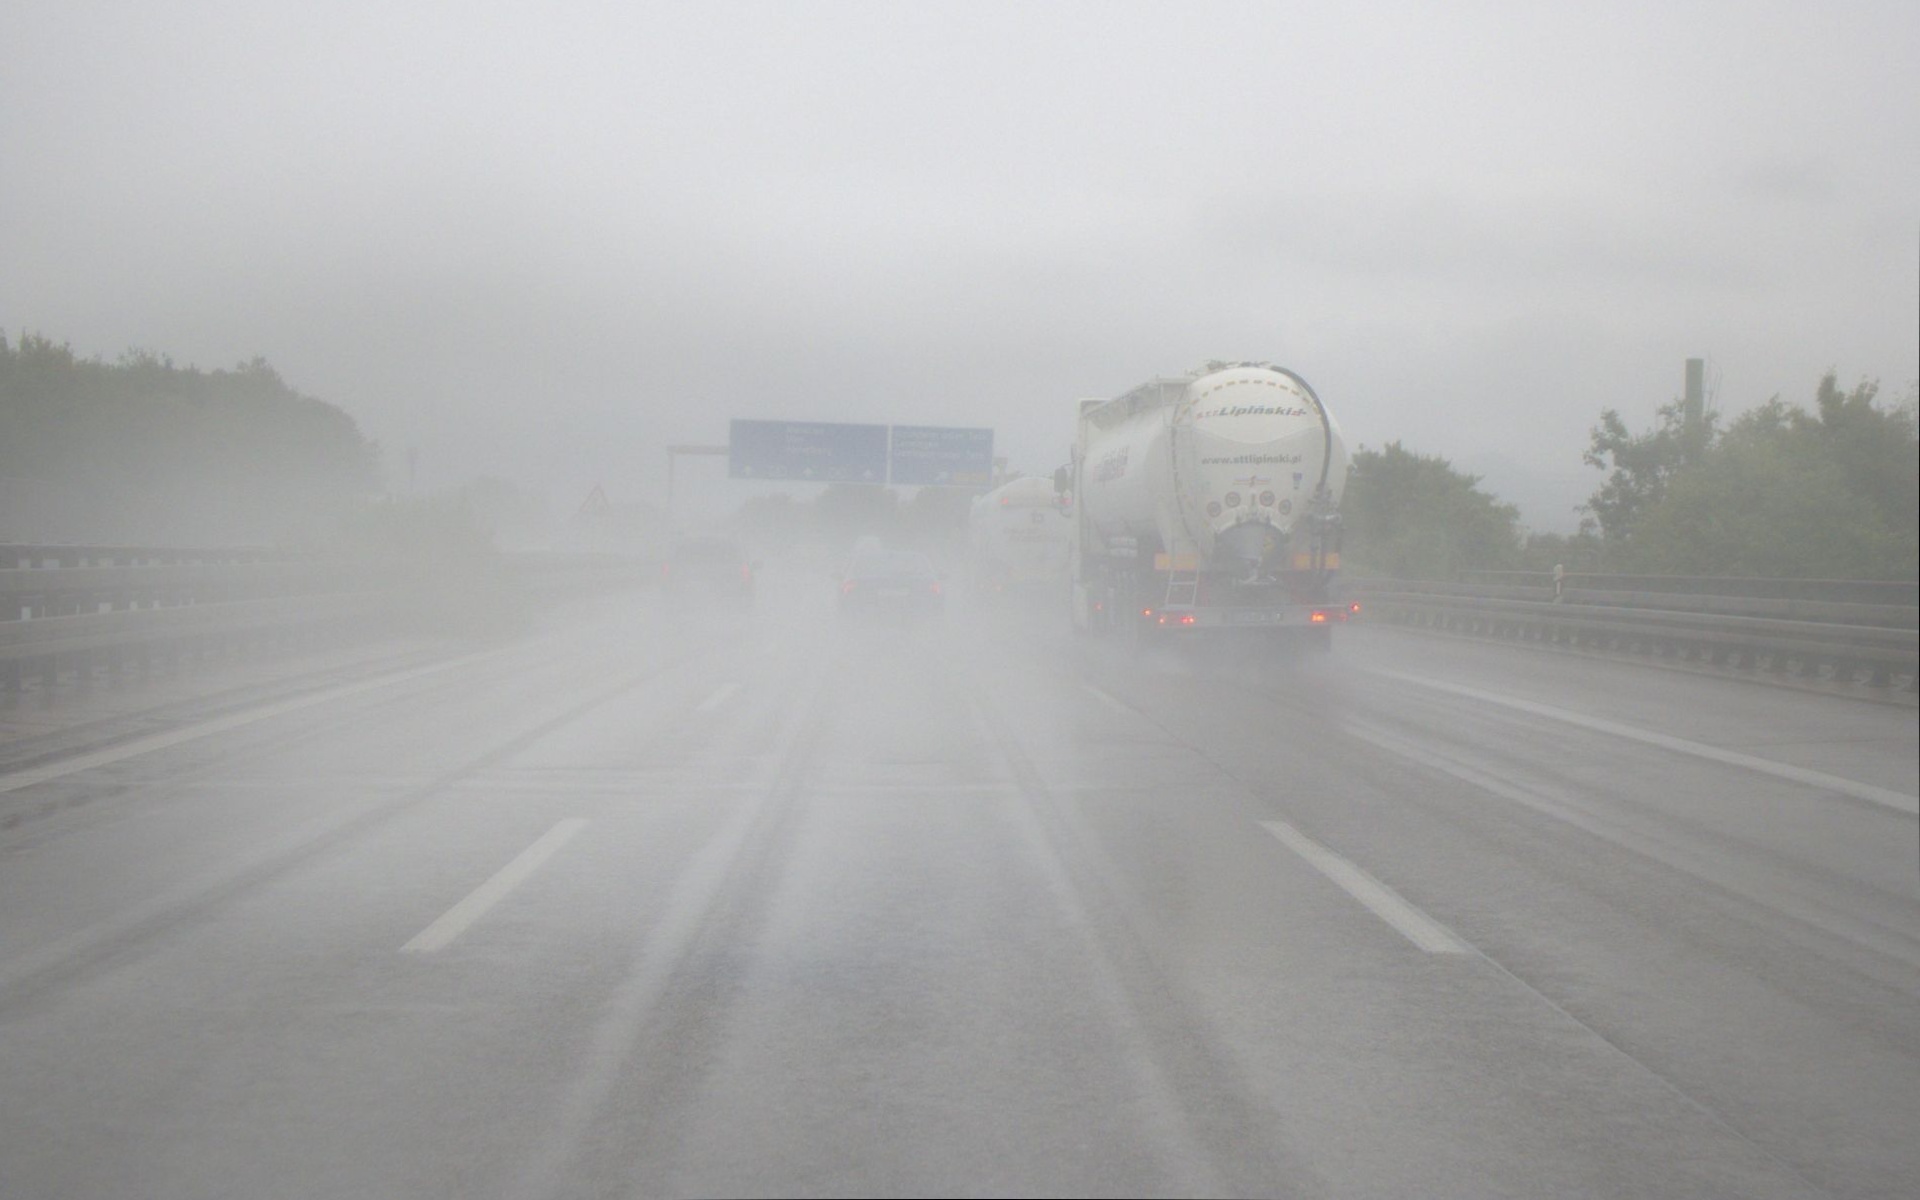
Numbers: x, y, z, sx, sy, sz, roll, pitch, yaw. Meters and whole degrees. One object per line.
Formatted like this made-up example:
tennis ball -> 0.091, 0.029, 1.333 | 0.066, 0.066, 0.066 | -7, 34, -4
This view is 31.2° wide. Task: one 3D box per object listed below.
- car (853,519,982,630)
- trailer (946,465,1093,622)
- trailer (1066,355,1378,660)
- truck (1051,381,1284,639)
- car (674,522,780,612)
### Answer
car -> -0.667, -0.458, 57.251 | 1.978, 1.750, 4.481 | 1, 1, 1
trailer -> 1.453, -1.470, 88.810 | 3.004, 3.834, 8.625 | 0, 1, -4
trailer -> 3.350, -1.225, 47.469 | 3.188, 3.657, 11.667 | 0, 1, -1
truck -> 3.182, -1.403, 54.648 | 3.104, 3.793, 7.213 | 0, 1, -1
car -> -4.686, -0.690, 69.656 | 1.925, 1.735, 4.404 | 1, 1, -1
